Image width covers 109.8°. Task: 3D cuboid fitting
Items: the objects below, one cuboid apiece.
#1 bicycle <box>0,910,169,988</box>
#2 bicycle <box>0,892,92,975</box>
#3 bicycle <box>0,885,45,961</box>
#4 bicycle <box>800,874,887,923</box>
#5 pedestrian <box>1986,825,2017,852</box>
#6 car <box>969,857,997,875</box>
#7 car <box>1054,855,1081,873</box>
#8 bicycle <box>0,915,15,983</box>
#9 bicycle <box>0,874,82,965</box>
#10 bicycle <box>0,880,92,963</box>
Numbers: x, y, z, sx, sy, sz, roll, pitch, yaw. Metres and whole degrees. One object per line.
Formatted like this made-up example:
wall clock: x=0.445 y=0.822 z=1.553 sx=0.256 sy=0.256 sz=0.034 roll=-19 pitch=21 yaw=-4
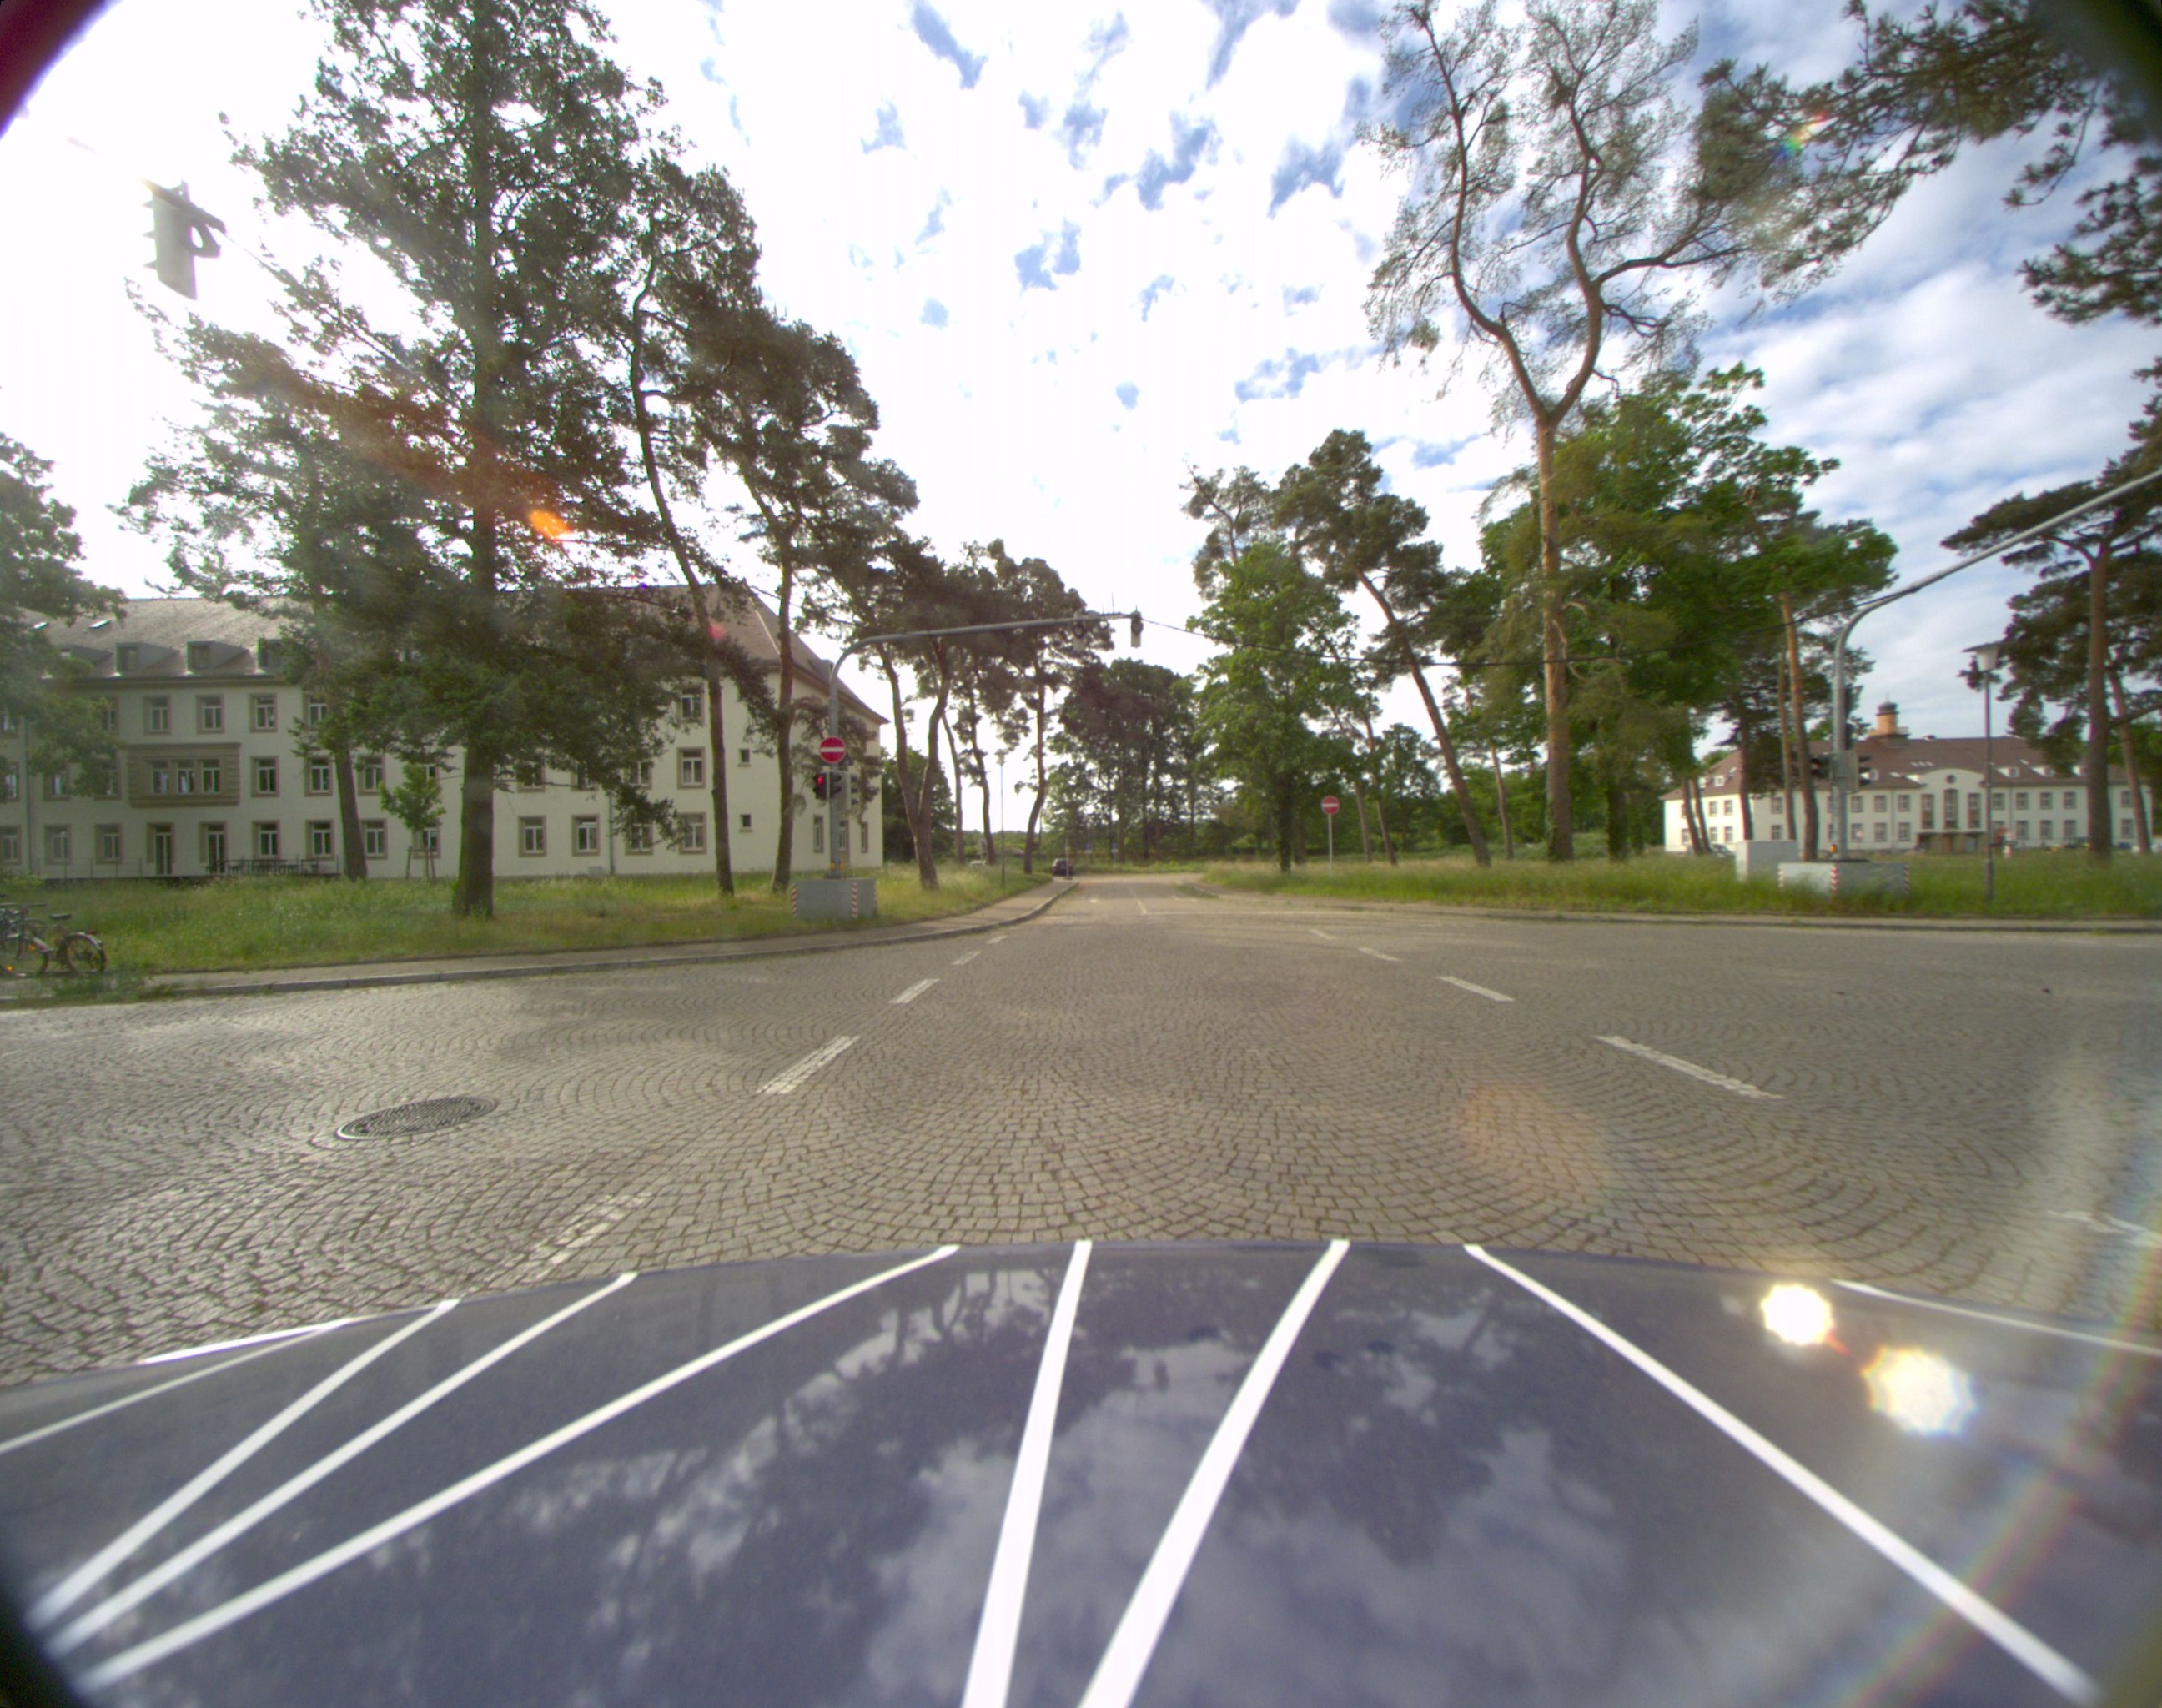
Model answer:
bicycle: x=-14.714 y=1.359 z=10.985 sx=1.977 sy=0.990 sz=0.903 roll=-1 pitch=0 yaw=1
bicycle: x=-18.026 y=1.324 z=12.417 sx=0.873 sy=1.299 sz=2.120 roll=-1 pitch=0 yaw=2
bicycle: x=-20.403 y=1.292 z=13.169 sx=0.950 sy=1.363 sz=2.812 roll=-1 pitch=0 yaw=2
bicycle: x=-5.655 y=1.053 z=18.180 sx=1.832 sy=1.057 sz=0.646 roll=-1 pitch=4 yaw=-1
pedestrian: x=75.609 y=-1.258 z=62.419 sx=1.055 sy=2.165 sz=1.185 roll=-1 pitch=1 yaw=3
car: x=-8.776 y=1.068 z=68.557 sx=1.771 sy=1.524 sz=3.695 roll=-1 pitch=0 yaw=4
car: x=-1.189 y=0.891 z=67.509 sx=1.998 sy=1.524 sz=4.001 roll=-1 pitch=0 yaw=4
bicycle: x=-16.806 y=1.415 z=10.984 sx=1.976 sy=0.990 sz=0.730 roll=-1 pitch=0 yaw=7
bicycle: x=-19.483 y=1.170 z=13.006 sx=0.950 sy=1.574 sz=2.812 roll=-1 pitch=0 yaw=2
bicycle: x=-18.631 y=1.169 z=12.628 sx=0.873 sy=1.359 sz=2.628 roll=-1 pitch=0 yaw=2
